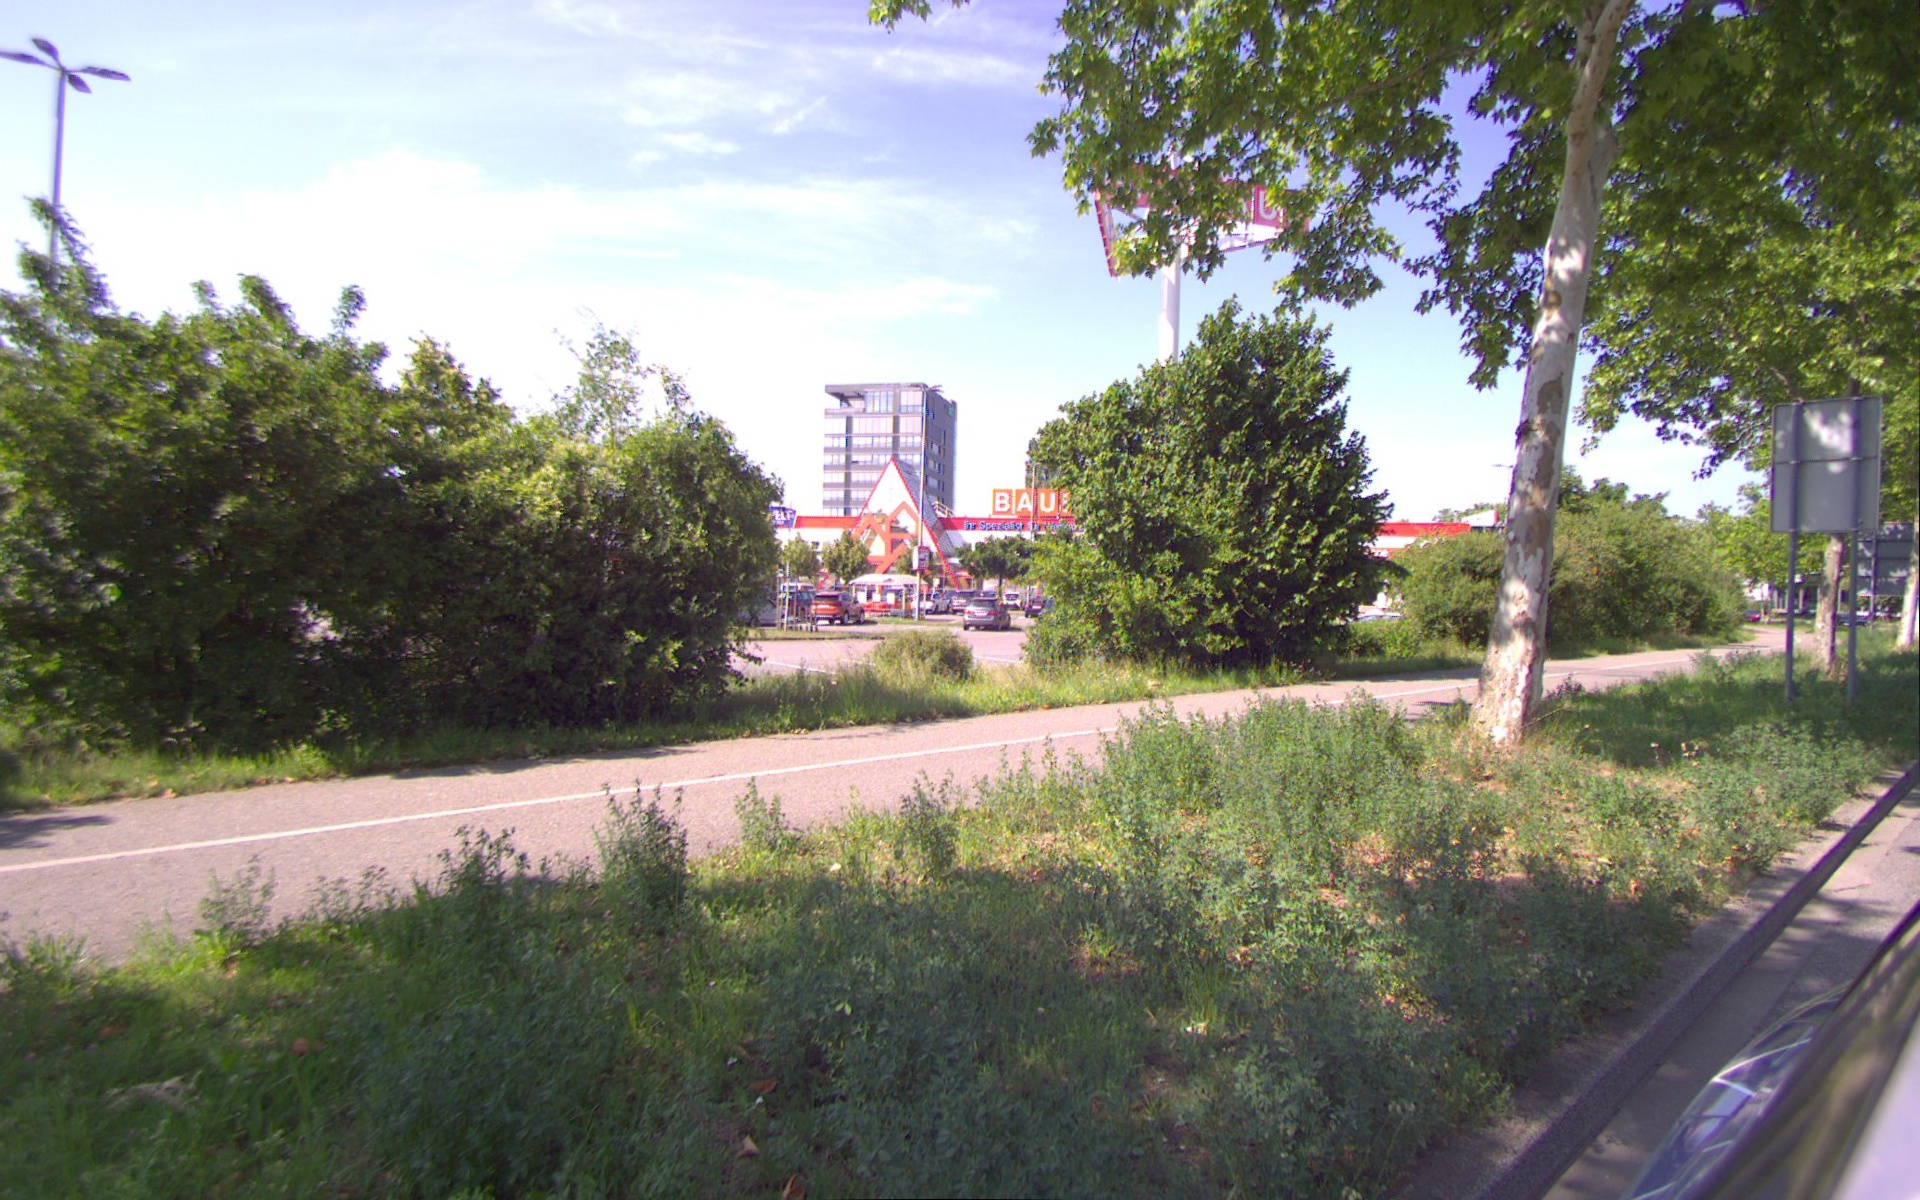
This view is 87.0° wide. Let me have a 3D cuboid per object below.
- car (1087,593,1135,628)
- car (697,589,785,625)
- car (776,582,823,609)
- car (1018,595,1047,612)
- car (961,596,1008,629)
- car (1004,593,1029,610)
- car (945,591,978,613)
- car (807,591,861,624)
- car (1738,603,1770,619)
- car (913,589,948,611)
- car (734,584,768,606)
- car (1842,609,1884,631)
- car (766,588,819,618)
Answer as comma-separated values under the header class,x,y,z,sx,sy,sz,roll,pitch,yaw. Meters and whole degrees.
class,x,y,z,sx,sy,sz,roll,pitch,yaw
car,7.166,0.469,47.751,1.969,1.527,3.985,1,1,12
car,-8.443,0.300,39.320,1.759,1.289,3.806,0,-2,15
car,-11.110,-0.325,70.263,1.973,1.834,4.043,0,0,11
car,4.720,0.244,65.787,1.495,1.073,3.175,-1,0,12
car,1.215,0.548,48.397,1.752,1.505,3.778,0,0,10
car,4.723,0.100,83.994,1.545,1.397,3.606,0,0,11
car,0.118,0.113,66.983,1.545,1.397,3.606,0,0,11
car,-6.194,0.335,49.991,1.654,1.565,3.778,0,0,9
car,84.074,1.177,107.242,1.629,1.622,3.579,0,0,20
car,-1.931,0.012,66.985,1.545,1.397,3.606,0,0,11
car,-14.934,-0.393,72.558,1.473,1.527,3.495,1,0,5
car,69.608,1.510,78.040,1.709,1.604,3.713,1,0,31
car,-9.365,0.131,56.956,1.745,1.625,3.732,0,0,11
